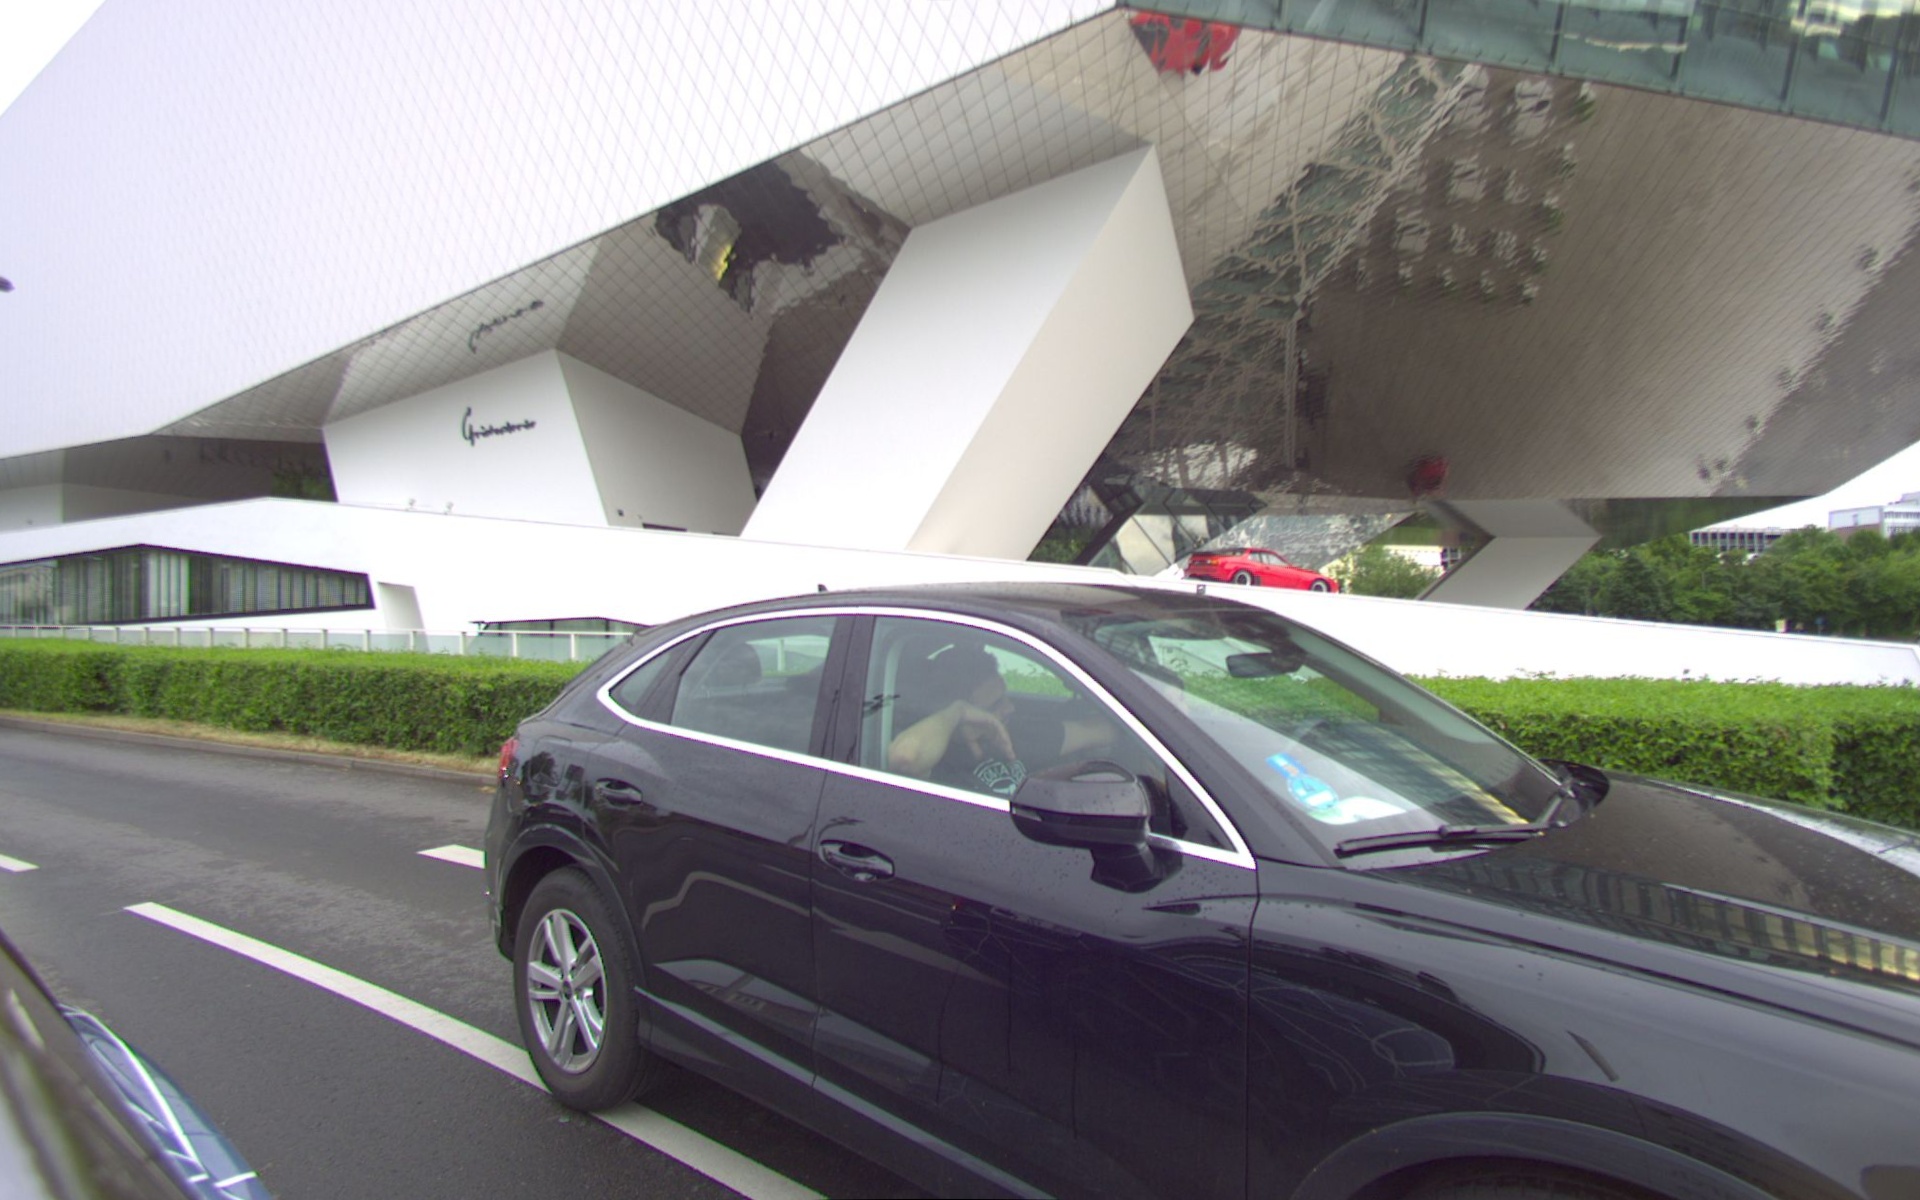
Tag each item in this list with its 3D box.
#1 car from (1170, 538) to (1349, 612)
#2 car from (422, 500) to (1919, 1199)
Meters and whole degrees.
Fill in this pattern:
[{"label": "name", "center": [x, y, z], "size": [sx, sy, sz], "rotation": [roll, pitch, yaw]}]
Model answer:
[{"label": "car", "center": [8.167, -0.625, 27.711], "size": [4.175, 1.395, 2.006], "rotation": [7, -4, -16]}, {"label": "car", "center": [0.388, 0.679, 2.675], "size": [4.392, 1.529, 1.734], "rotation": [-1, 0, 41]}]
